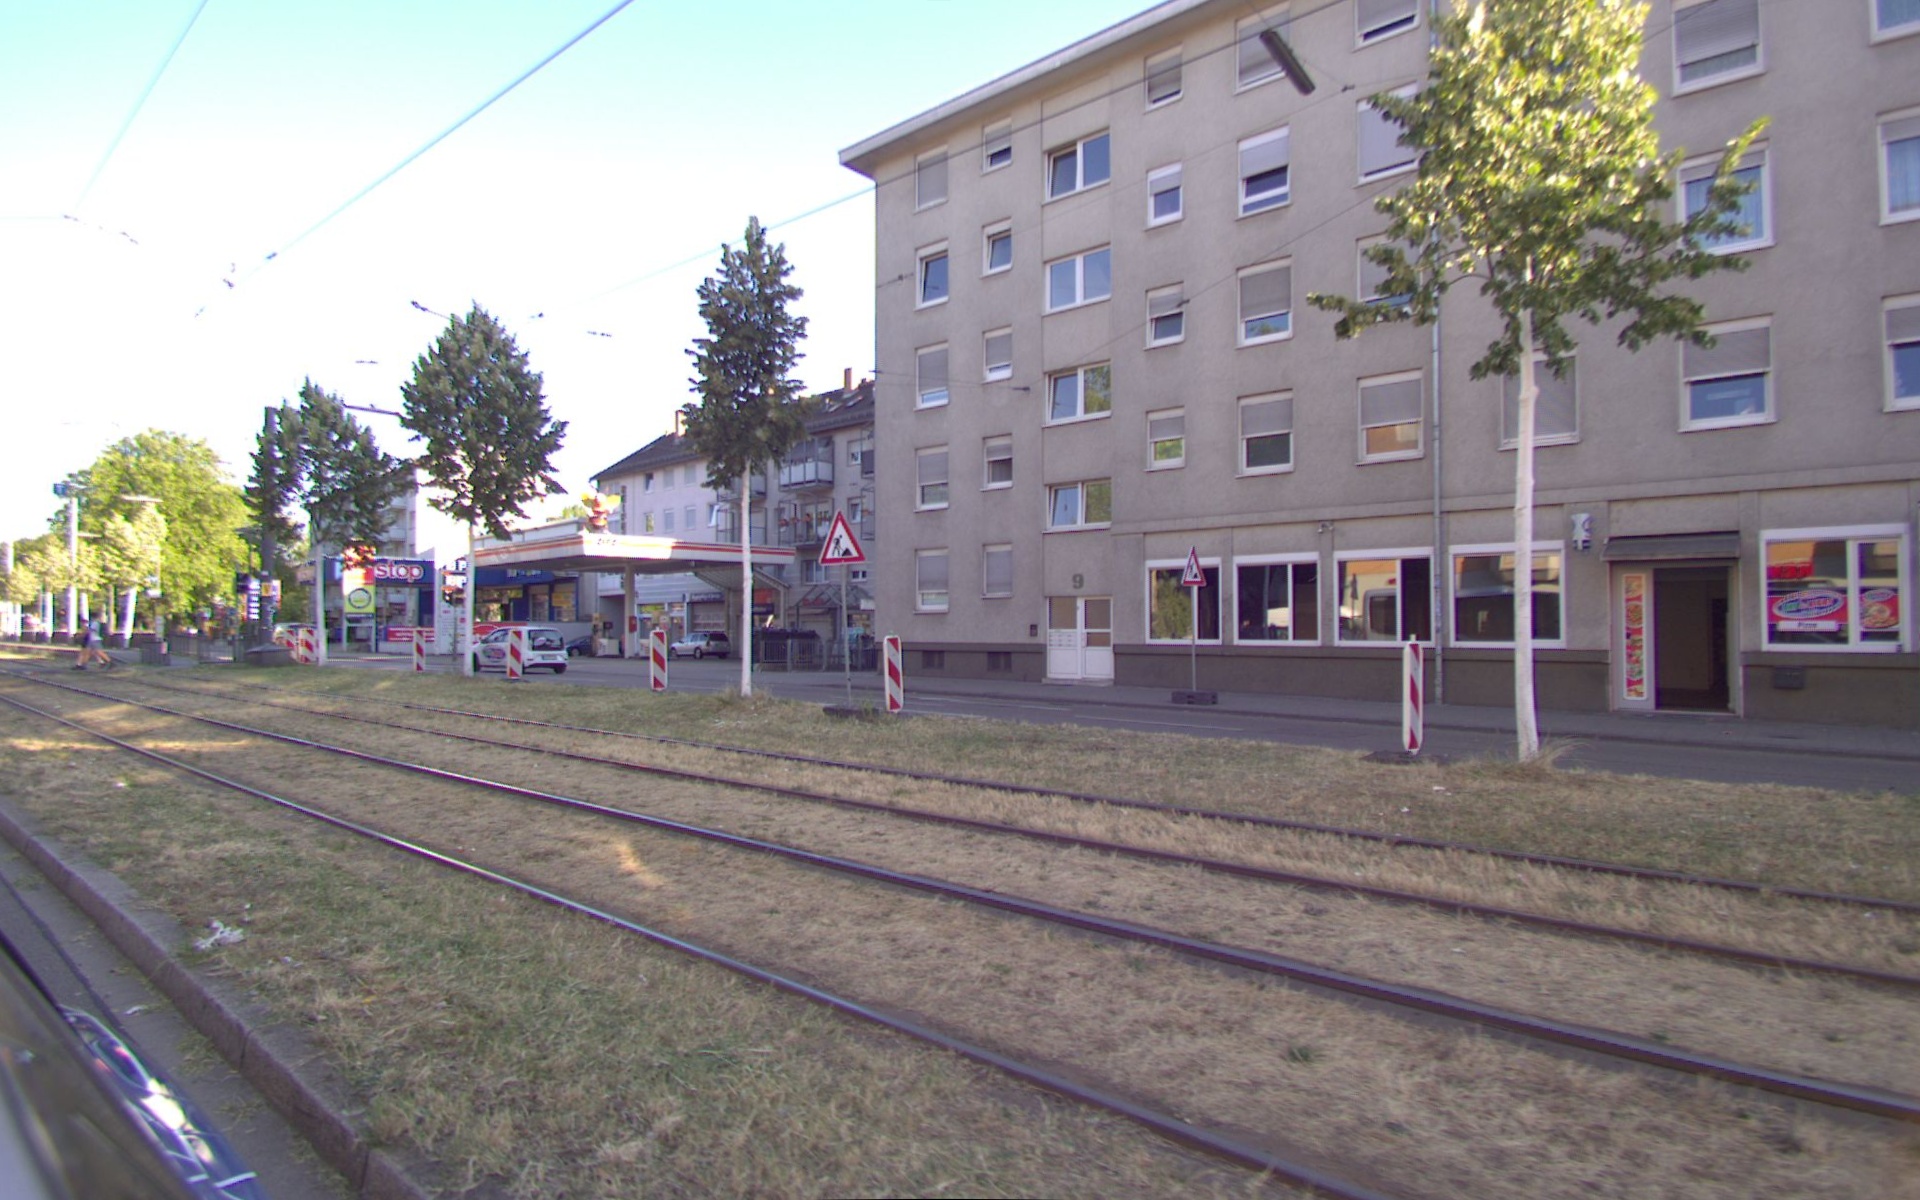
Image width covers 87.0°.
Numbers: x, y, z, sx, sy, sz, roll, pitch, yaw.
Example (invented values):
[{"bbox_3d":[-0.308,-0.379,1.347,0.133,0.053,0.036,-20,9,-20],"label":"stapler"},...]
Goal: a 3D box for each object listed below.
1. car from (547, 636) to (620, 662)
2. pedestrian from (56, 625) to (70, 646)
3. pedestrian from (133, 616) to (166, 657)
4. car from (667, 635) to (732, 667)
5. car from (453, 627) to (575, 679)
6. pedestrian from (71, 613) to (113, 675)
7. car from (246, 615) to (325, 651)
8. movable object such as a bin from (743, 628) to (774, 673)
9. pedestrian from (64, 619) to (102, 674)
[{"bbox_3d":[-23.136,2.991,62.250,1.818,1.535,3.752,-2,-2,44],"label":"car"},{"bbox_3d":[-82.276,3.249,92.815,0.999,1.896,0.745,-2,0,40],"label":"pedestrian"},{"bbox_3d":[-34.405,1.546,42.955,0.925,1.666,0.925,-2,0,41],"label":"pedestrian"},{"bbox_3d":[-14.282,2.771,55.409,1.791,1.535,3.831,-1,0,-44],"label":"car"},{"bbox_3d":[-14.149,1.640,32.096,3.820,1.523,1.796,-1,-3,35],"label":"car"},{"bbox_3d":[-27.742,1.390,32.337,0.754,1.947,0.849,-2,-2,38],"label":"pedestrian"},{"bbox_3d":[-31.534,1.519,47.259,4.931,1.572,1.793,-1,-2,41],"label":"car"},{"bbox_3d":[-6.481,1.609,32.548,0.748,1.411,0.656,-2,-3,39],"label":"movable object such as a bin"},{"bbox_3d":[-28.484,1.506,32.885,0.859,1.760,0.746,-1,-2,38],"label":"pedestrian"}]
